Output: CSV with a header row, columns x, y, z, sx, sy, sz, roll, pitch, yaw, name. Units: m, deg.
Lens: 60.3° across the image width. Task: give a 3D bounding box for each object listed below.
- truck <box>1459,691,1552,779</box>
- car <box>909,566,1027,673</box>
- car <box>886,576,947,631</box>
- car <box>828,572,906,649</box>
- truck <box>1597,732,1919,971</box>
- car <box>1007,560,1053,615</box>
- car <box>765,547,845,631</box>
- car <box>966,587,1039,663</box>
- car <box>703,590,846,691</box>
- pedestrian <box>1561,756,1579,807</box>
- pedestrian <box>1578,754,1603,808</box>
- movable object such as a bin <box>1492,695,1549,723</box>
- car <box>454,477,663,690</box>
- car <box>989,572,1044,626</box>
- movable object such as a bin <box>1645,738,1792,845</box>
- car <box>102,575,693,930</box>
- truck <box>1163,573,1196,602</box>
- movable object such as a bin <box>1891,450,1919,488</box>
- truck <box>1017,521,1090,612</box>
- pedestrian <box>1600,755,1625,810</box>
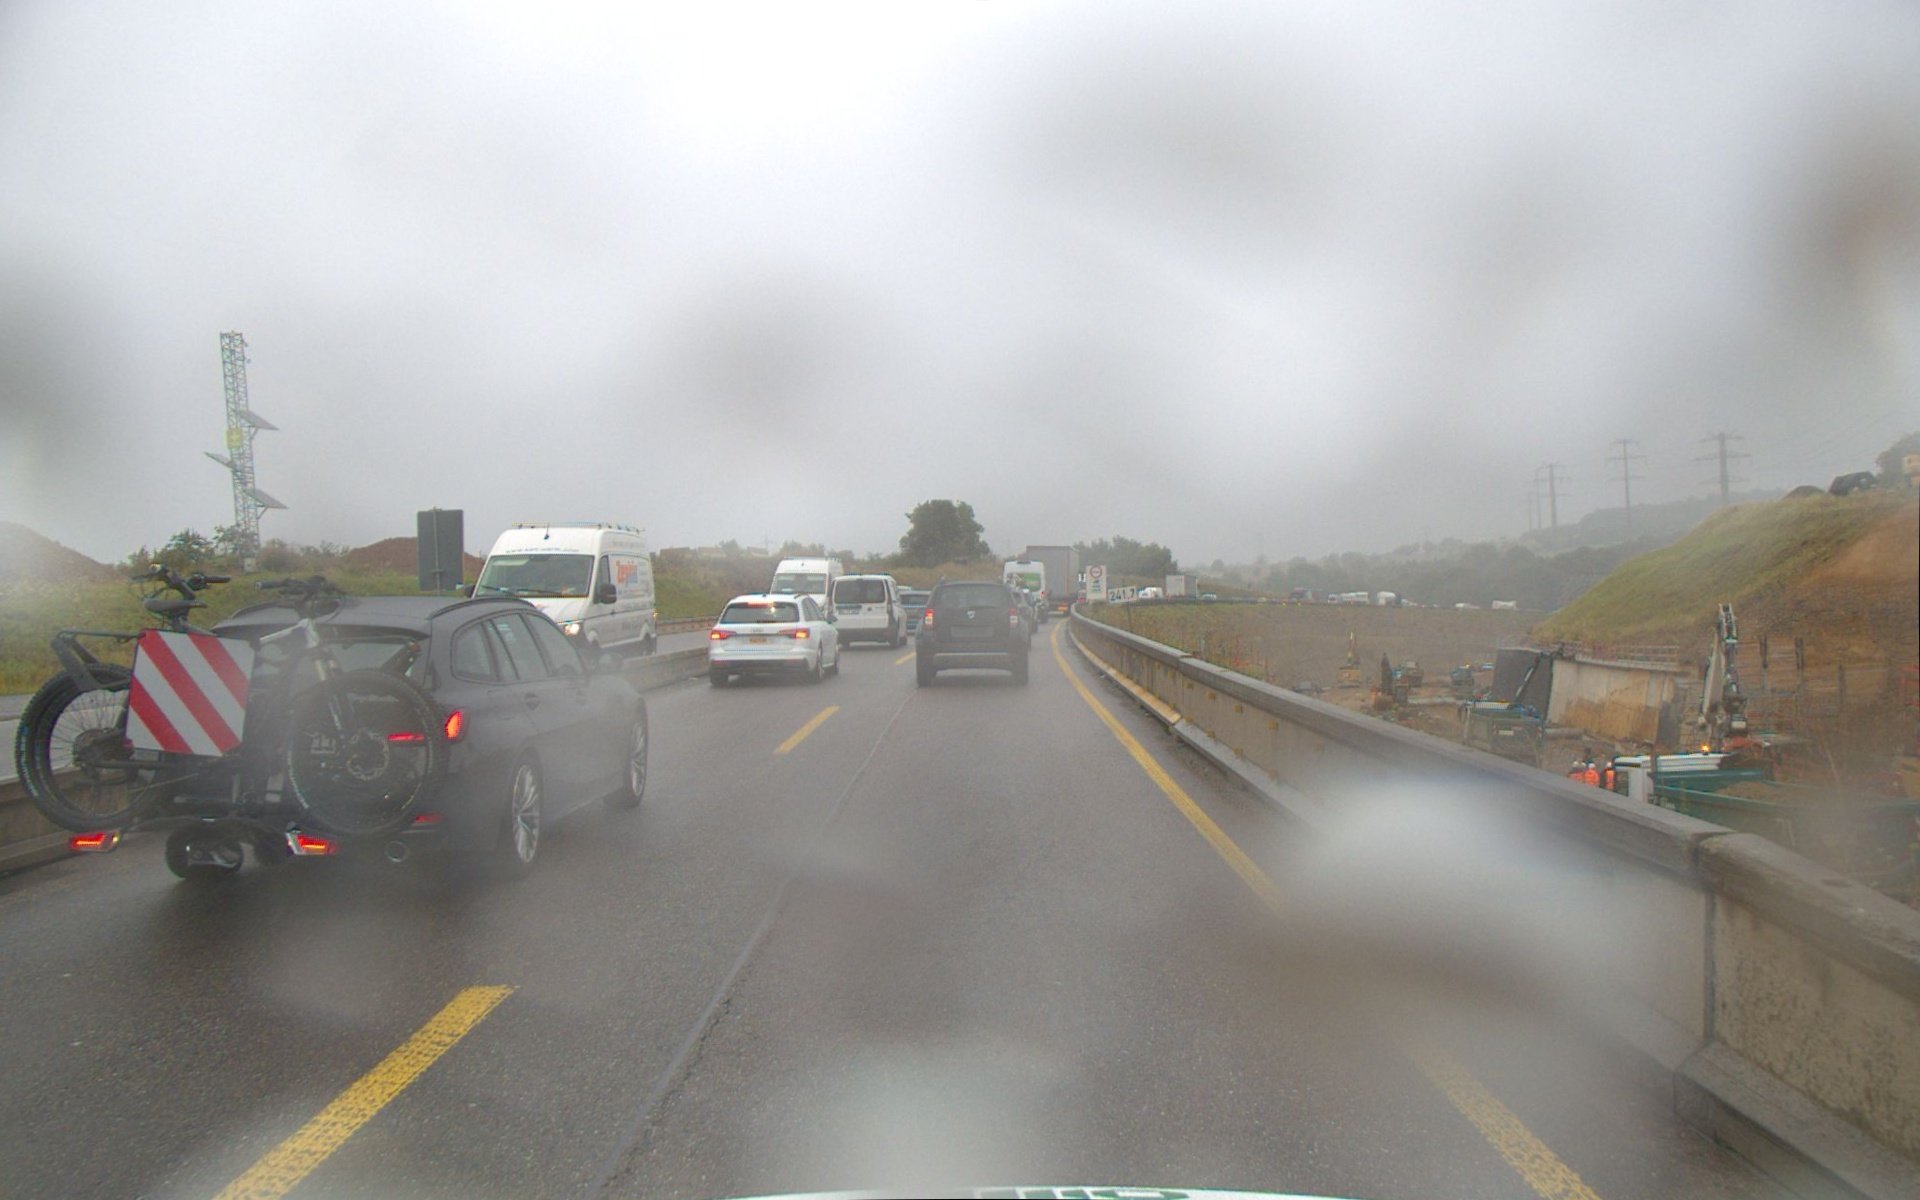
x,y,z,sx,sy,sz,roll,pitch,yaw,name
26.185,6.395,79.844,2.671,3.552,9.072,0,0,8,truck
0.190,0.312,27.307,1.788,1.619,4.001,0,0,2,car
-1.488,0.120,57.662,1.788,1.847,4.001,0,0,3,car
-2.328,0.269,42.310,1.789,1.847,3.999,0,0,-1,car
16.274,4.823,33.850,2.645,3.565,8.942,0,0,-3,truck
3.271,-0.558,76.563,1.787,2.480,4.161,0,-1,7,car
-5.081,-0.370,54.952,1.982,2.593,5.959,-1,1,1,car
1.115,0.636,42.478,1.788,1.847,4.001,0,0,2,car
-2.978,0.637,27.309,1.788,1.525,4.001,0,0,2,car
23.783,7.066,64.496,0.561,1.902,0.736,0,-1,10,pedestrian
24.242,6.965,63.626,0.566,1.978,0.729,1,-1,-25,pedestrian
43.222,8.404,127.582,1.975,2.049,3.797,4,-3,-33,movable object such as a bin
-6.320,-0.262,26.778,1.953,3.066,5.779,0,0,0,car
2.045,-0.011,59.363,1.788,1.847,4.002,0,0,4,car
22.248,5.584,48.672,3.083,2.786,2.970,0,-1,3,movable object such as a bin
-2.950,0.636,10.160,1.699,1.488,5.630,0,2,0,car
29.343,-1.651,221.117,3.398,3.780,8.424,-1,0,14,truck
66.859,-9.096,115.131,2.377,2.486,3.973,0,2,11,movable object such as a bin
5.733,-1.855,99.309,3.468,5.166,10.449,0,0,8,truck
24.905,6.966,63.132,0.722,1.978,0.572,0,-1,41,pedestrian
